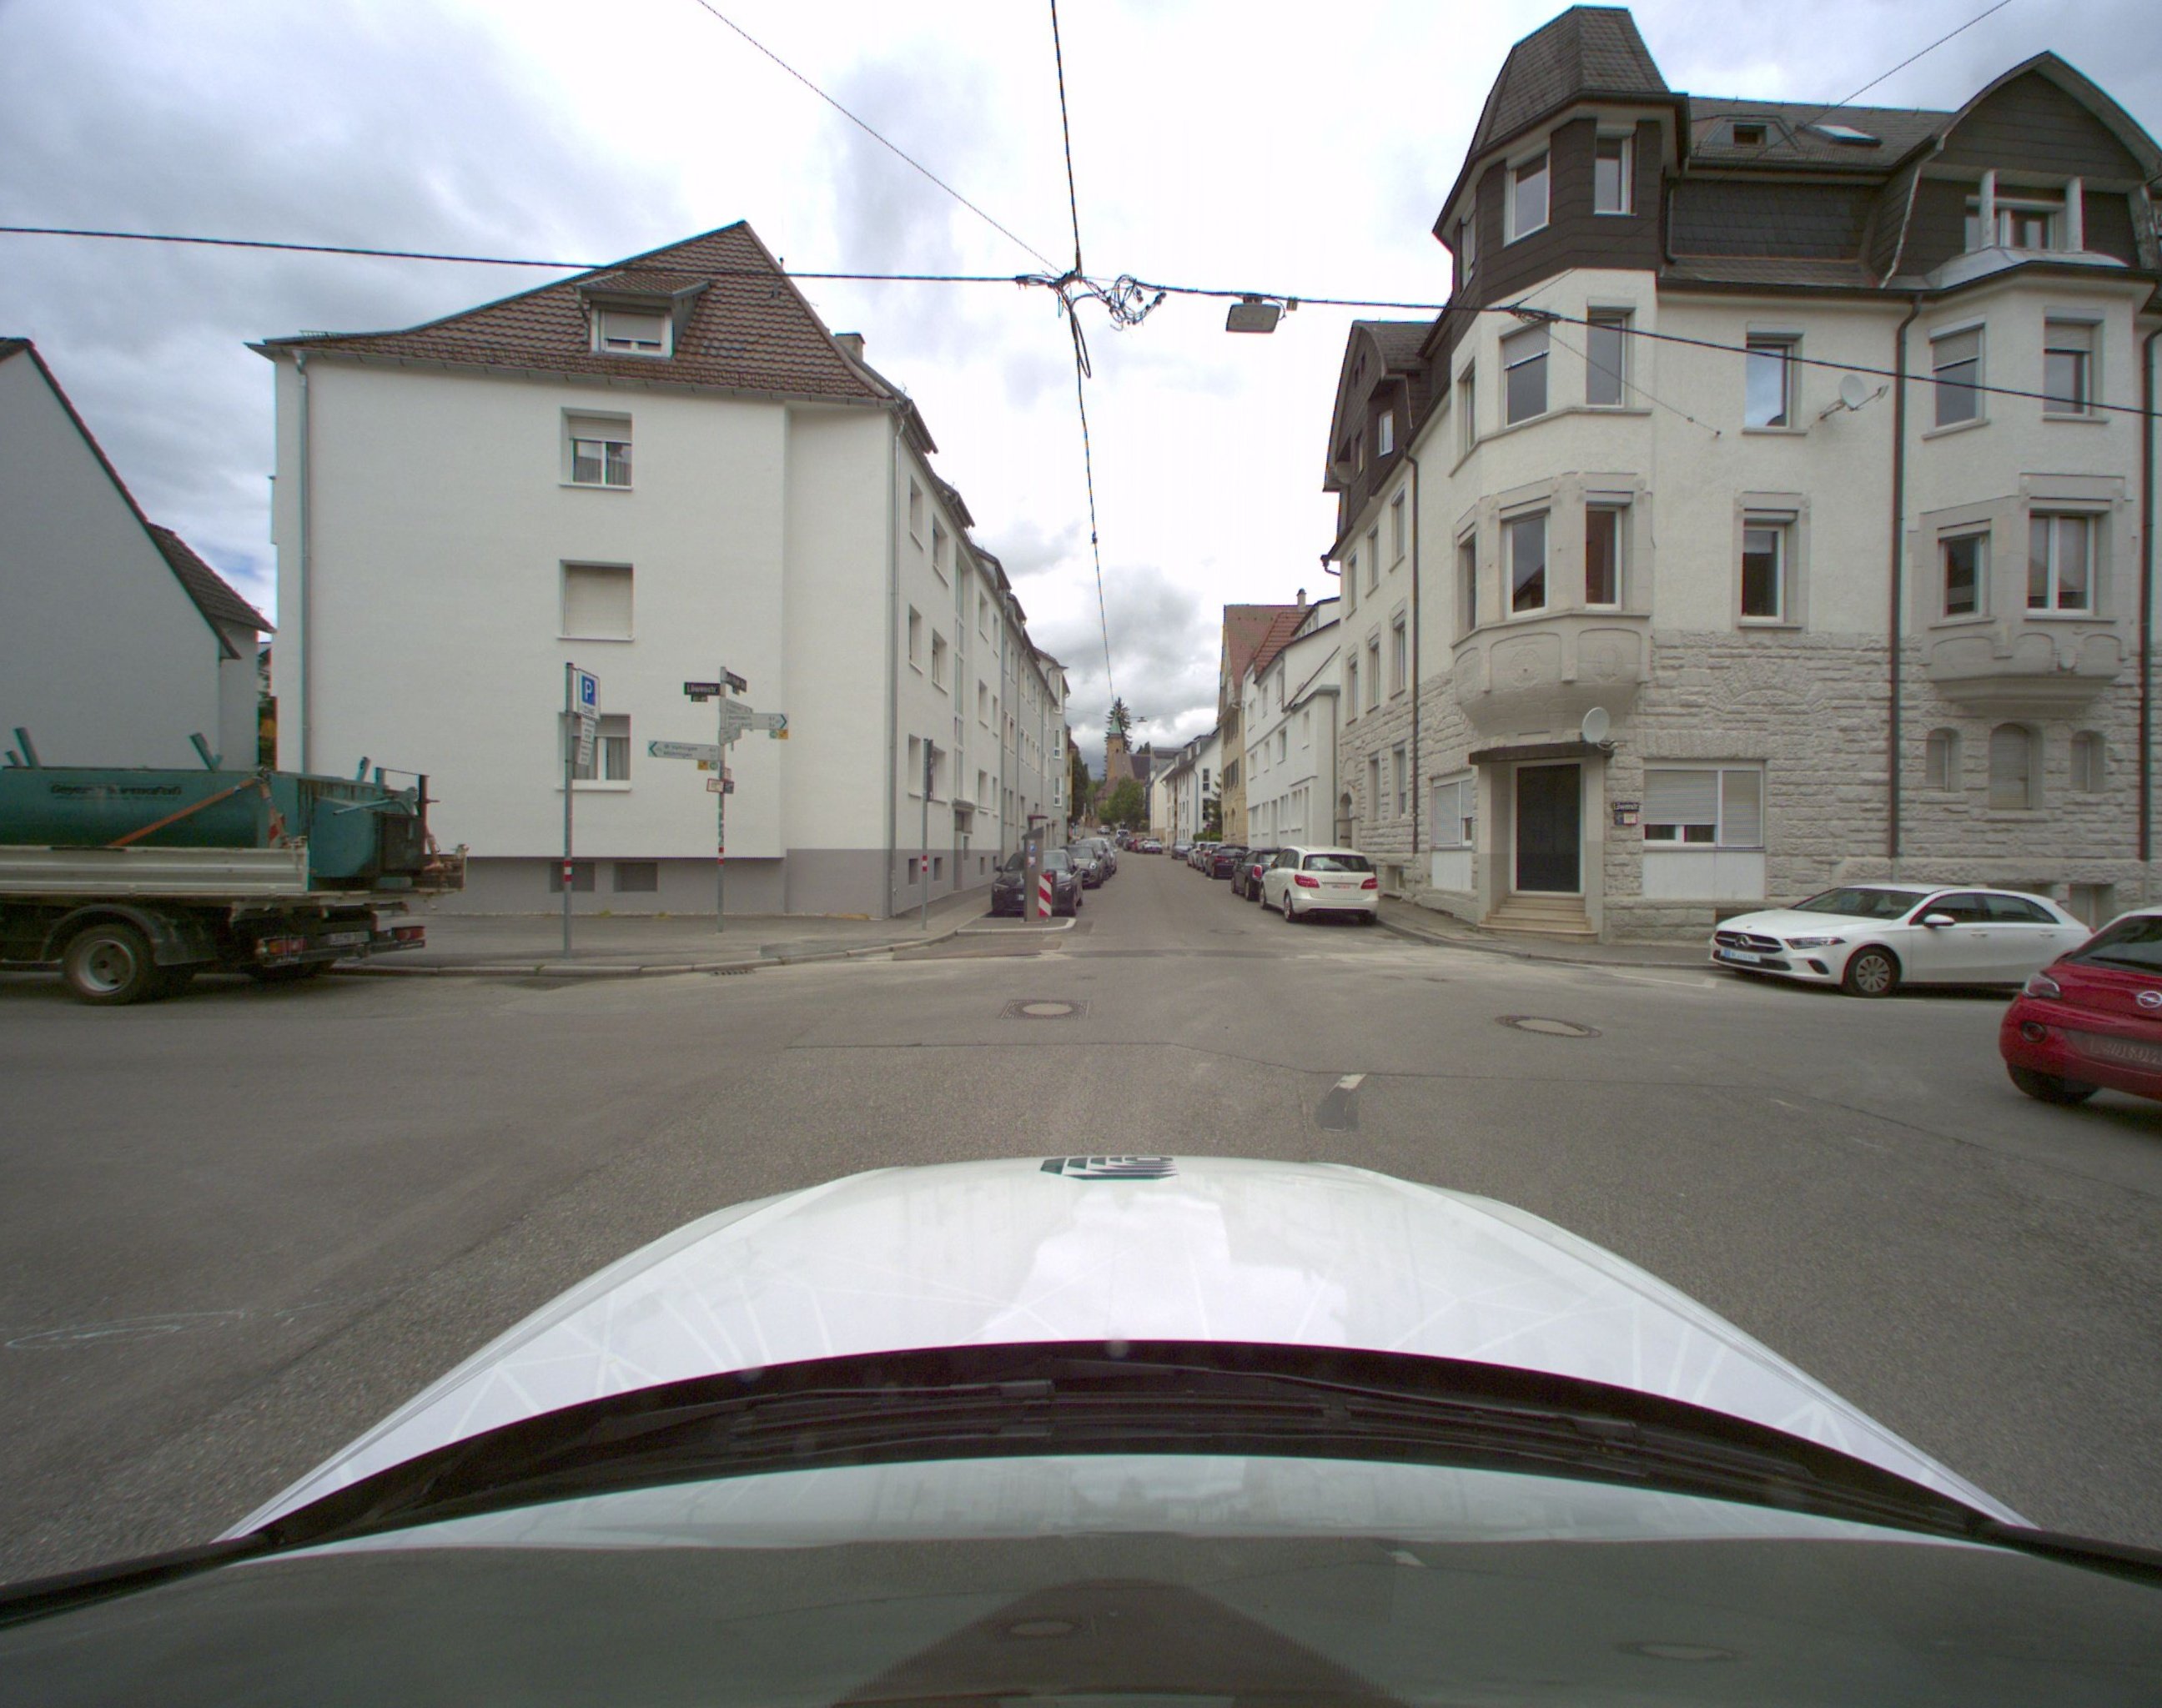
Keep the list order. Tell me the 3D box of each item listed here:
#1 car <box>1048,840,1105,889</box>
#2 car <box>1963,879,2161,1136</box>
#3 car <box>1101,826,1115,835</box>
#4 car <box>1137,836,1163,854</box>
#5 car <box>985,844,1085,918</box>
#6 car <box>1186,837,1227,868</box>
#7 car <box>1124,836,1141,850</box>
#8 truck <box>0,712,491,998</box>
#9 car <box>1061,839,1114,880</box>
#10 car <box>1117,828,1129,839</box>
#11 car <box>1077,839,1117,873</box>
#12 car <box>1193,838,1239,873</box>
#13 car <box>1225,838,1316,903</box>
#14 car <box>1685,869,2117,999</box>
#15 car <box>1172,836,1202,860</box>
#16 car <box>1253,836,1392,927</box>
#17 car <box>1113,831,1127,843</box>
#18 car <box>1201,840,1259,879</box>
[{"bbox_3d":[-0.086,0.286,27.443,1.723,1.489,3.722,0,1,2],"label":"car"},{"bbox_3d":[8.212,0.998,5.183,3.608,1.479,1.670,2,0,-5],"label":"car"},{"bbox_3d":[5.125,-4.493,154.342,2.178,1.693,3.622,1,2,-4],"label":"car"},{"bbox_3d":[6.378,-0.860,75.784,1.782,1.479,3.619,1,2,-6],"label":"car"},{"bbox_3d":[-0.906,0.514,18.327,1.813,1.391,4.301,0,1,2],"label":"car"},{"bbox_3d":[6.739,-0.093,43.889,1.662,1.479,3.627,2,2,1],"label":"car"},{"bbox_3d":[5.438,-1.185,86.796,1.662,1.479,3.627,1,2,1],"label":"car"},{"bbox_3d":[-10.167,0.018,8.398,6.254,2.552,2.315,0,-1,-4],"label":"truck"},{"bbox_3d":[0.322,0.174,32.274,1.721,1.469,3.726,0,1,6],"label":"car"},{"bbox_3d":[5.914,-2.866,115.344,1.662,1.479,3.627,1,2,1],"label":"car"},{"bbox_3d":[0.761,0.072,37.450,1.723,1.448,3.722,0,1,2],"label":"car"},{"bbox_3d":[6.466,0.029,39.308,1.662,1.479,3.627,2,2,1],"label":"car"},{"bbox_3d":[5.199,0.375,22.830,1.662,1.532,4.029,2,2,1],"label":"car"},{"bbox_3d":[10.687,1.006,10.790,4.219,1.414,1.702,2,0,-5],"label":"car"},{"bbox_3d":[7.406,-0.453,57.073,1.662,1.479,3.627,2,2,1],"label":"car"},{"bbox_3d":[5.053,0.485,17.623,1.814,1.599,4.029,2,2,1],"label":"car"},{"bbox_3d":[5.002,-2.165,103.614,1.662,1.479,3.627,1,2,1],"label":"car"},{"bbox_3d":[5.984,0.177,33.124,1.662,1.384,4.029,2,2,1],"label":"car"}]
